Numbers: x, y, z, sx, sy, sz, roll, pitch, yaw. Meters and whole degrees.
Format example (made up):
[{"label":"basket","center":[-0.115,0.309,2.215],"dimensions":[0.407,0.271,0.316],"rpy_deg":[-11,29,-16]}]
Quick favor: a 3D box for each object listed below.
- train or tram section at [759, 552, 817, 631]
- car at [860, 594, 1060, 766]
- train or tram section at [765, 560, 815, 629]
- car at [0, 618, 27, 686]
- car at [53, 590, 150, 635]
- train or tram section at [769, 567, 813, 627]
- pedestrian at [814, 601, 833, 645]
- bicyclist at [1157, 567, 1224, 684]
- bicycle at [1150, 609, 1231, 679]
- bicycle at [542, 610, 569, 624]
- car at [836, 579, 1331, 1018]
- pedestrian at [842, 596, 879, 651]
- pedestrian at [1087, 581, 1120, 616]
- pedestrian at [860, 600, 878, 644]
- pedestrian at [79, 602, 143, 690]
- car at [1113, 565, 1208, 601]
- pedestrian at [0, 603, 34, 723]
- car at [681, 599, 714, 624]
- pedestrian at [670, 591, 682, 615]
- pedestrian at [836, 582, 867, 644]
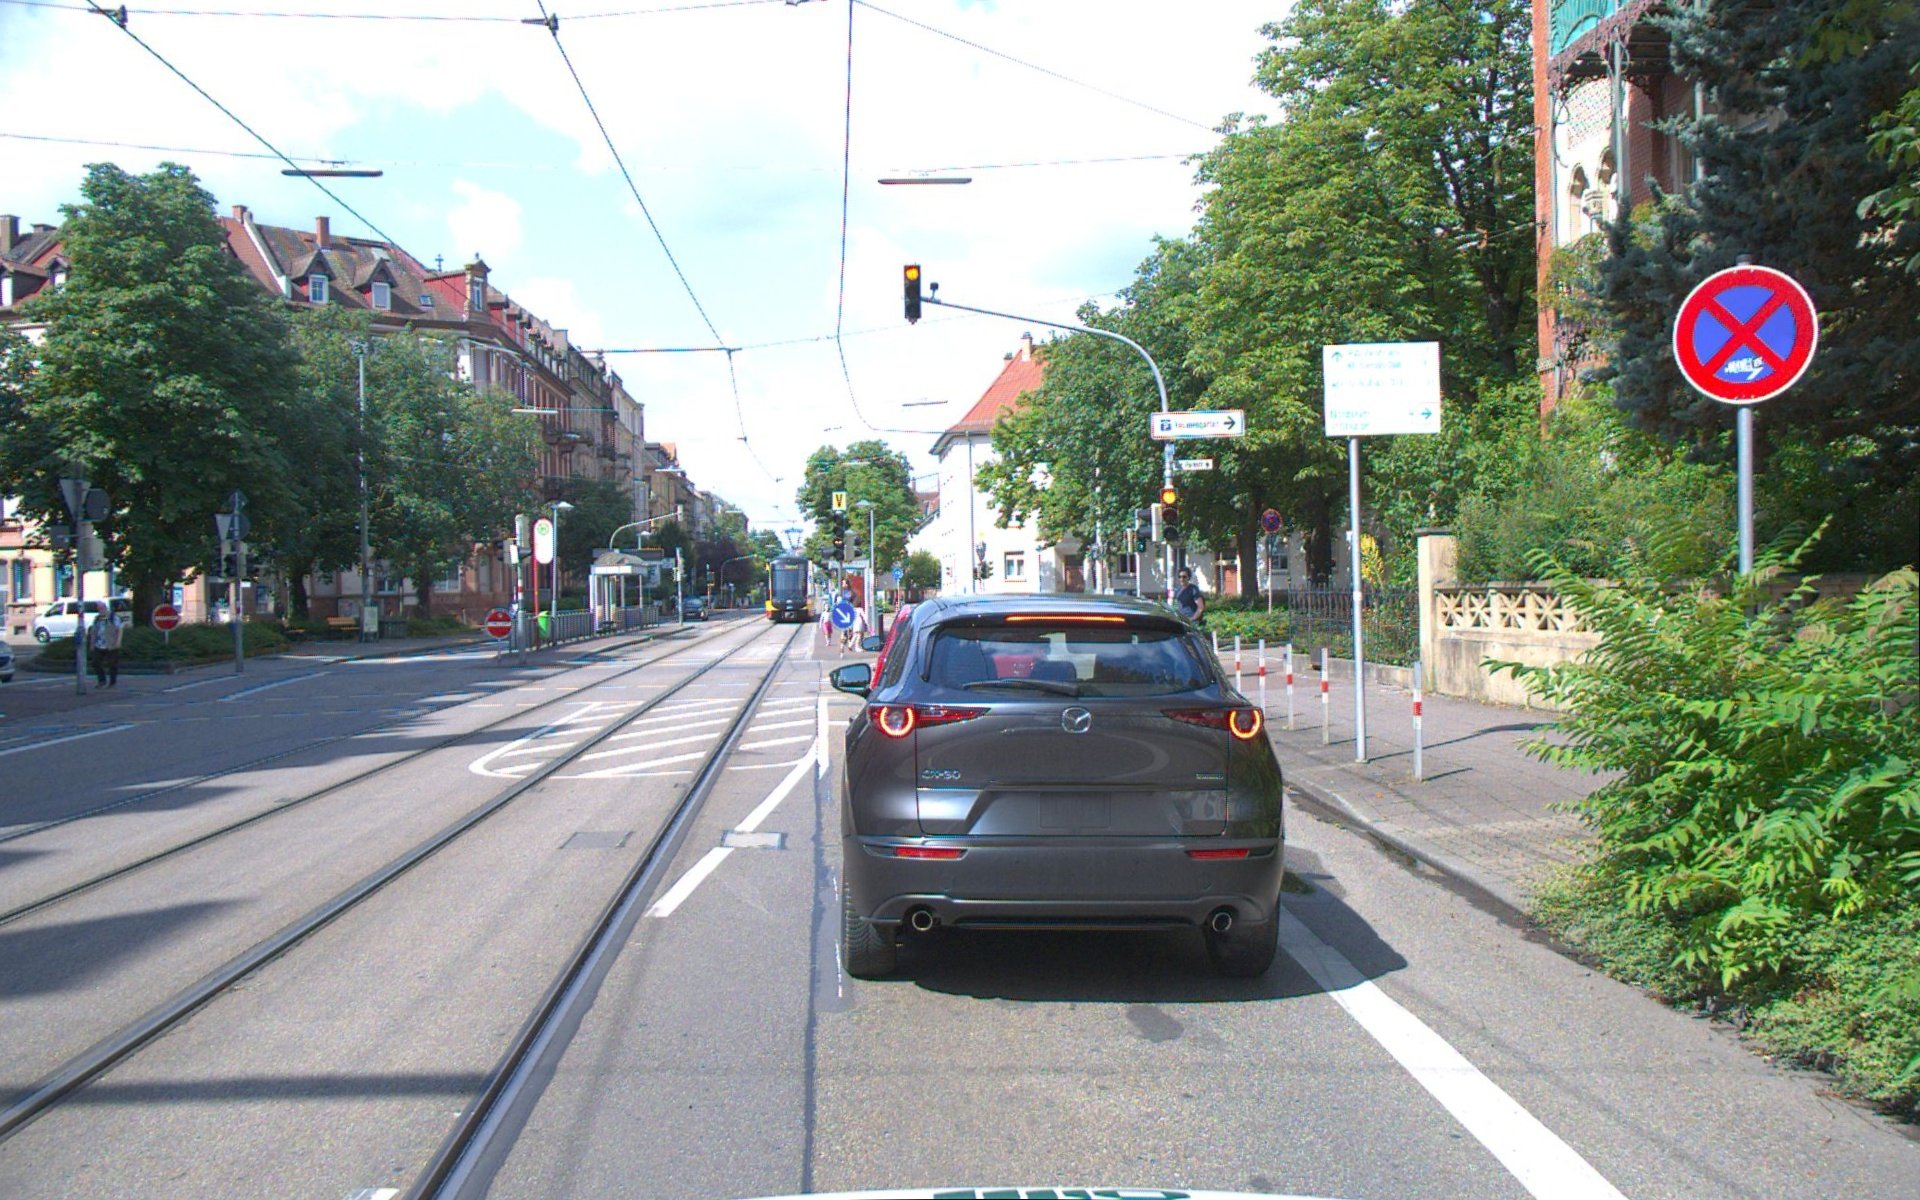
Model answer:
[{"label":"train or tram section","center":[-9.643,-0.370,93.218],"dimensions":[2.939,4.053,13.792],"rpy_deg":[-1,-1,-5]},{"label":"car","center":[-0.101,0.698,16.370],"dimensions":[1.740,1.489,3.840],"rpy_deg":[0,0,-3]},{"label":"train or tram section","center":[-10.937,-0.255,106.987],"dimensions":[2.939,4.053,13.792],"rpy_deg":[-1,-1,-5]},{"label":"car","center":[-22.427,1.168,36.715],"dimensions":[3.800,1.445,1.713],"rpy_deg":[-1,0,39]},{"label":"car","center":[-39.929,0.584,76.915],"dimensions":[3.853,2.023,1.857],"rpy_deg":[-1,0,19]},{"label":"train or tram section","center":[-12.277,-0.136,120.687],"dimensions":[2.939,4.053,13.792],"rpy_deg":[-1,-1,-5]},{"label":"pedestrian","center":[-3.596,0.600,43.543],"dimensions":[0.414,1.127,0.438],"rpy_deg":[-3,0,-9]},{"label":"bicyclist","center":[3.746,0.406,26.901],"dimensions":[0.724,1.851,0.813],"rpy_deg":[-1,0,-27]},{"label":"bicycle","center":[3.777,0.701,27.018],"dimensions":[0.382,1.053,1.836],"rpy_deg":[-1,1,39]},{"label":"bicycle","center":[-22.968,0.964,93.912],"dimensions":[0.378,0.760,1.707],"rpy_deg":[-1,0,31]},{"label":"car","center":[0.427,0.716,7.903],"dimensions":[1.746,1.540,3.999],"rpy_deg":[1,0,-1]},{"label":"pedestrian","center":[-2.513,0.584,41.729],"dimensions":[0.704,1.326,0.824],"rpy_deg":[-3,0,-18]},{"label":"pedestrian","center":[5.708,-0.054,65.875],"dimensions":[1.170,1.291,0.557],"rpy_deg":[-3,0,-10]},{"label":"pedestrian","center":[-2.420,0.580,44.083],"dimensions":[0.434,1.133,0.642],"rpy_deg":[-1,0,-6]},{"label":"pedestrian","center":[-16.882,0.906,32.912],"dimensions":[0.837,1.702,0.821],"rpy_deg":[-1,0,-3]},{"label":"car","center":[9.526,-0.803,78.776],"dimensions":[4.091,1.536,1.844],"rpy_deg":[-1,2,38]},{"label":"pedestrian","center":[-14.560,0.927,24.851],"dimensions":[0.741,1.734,0.873],"rpy_deg":[3,0,-5]},{"label":"car","center":[-16.114,0.695,101.644],"dimensions":[1.592,1.411,3.434],"rpy_deg":[-3,1,-3]},{"label":"pedestrian","center":[-20.794,0.233,121.018],"dimensions":[0.772,1.718,0.731],"rpy_deg":[-1,0,-3]},{"label":"pedestrian","center":[-2.843,0.333,43.355],"dimensions":[0.714,1.593,0.797],"rpy_deg":[-1,0,-9]}]
